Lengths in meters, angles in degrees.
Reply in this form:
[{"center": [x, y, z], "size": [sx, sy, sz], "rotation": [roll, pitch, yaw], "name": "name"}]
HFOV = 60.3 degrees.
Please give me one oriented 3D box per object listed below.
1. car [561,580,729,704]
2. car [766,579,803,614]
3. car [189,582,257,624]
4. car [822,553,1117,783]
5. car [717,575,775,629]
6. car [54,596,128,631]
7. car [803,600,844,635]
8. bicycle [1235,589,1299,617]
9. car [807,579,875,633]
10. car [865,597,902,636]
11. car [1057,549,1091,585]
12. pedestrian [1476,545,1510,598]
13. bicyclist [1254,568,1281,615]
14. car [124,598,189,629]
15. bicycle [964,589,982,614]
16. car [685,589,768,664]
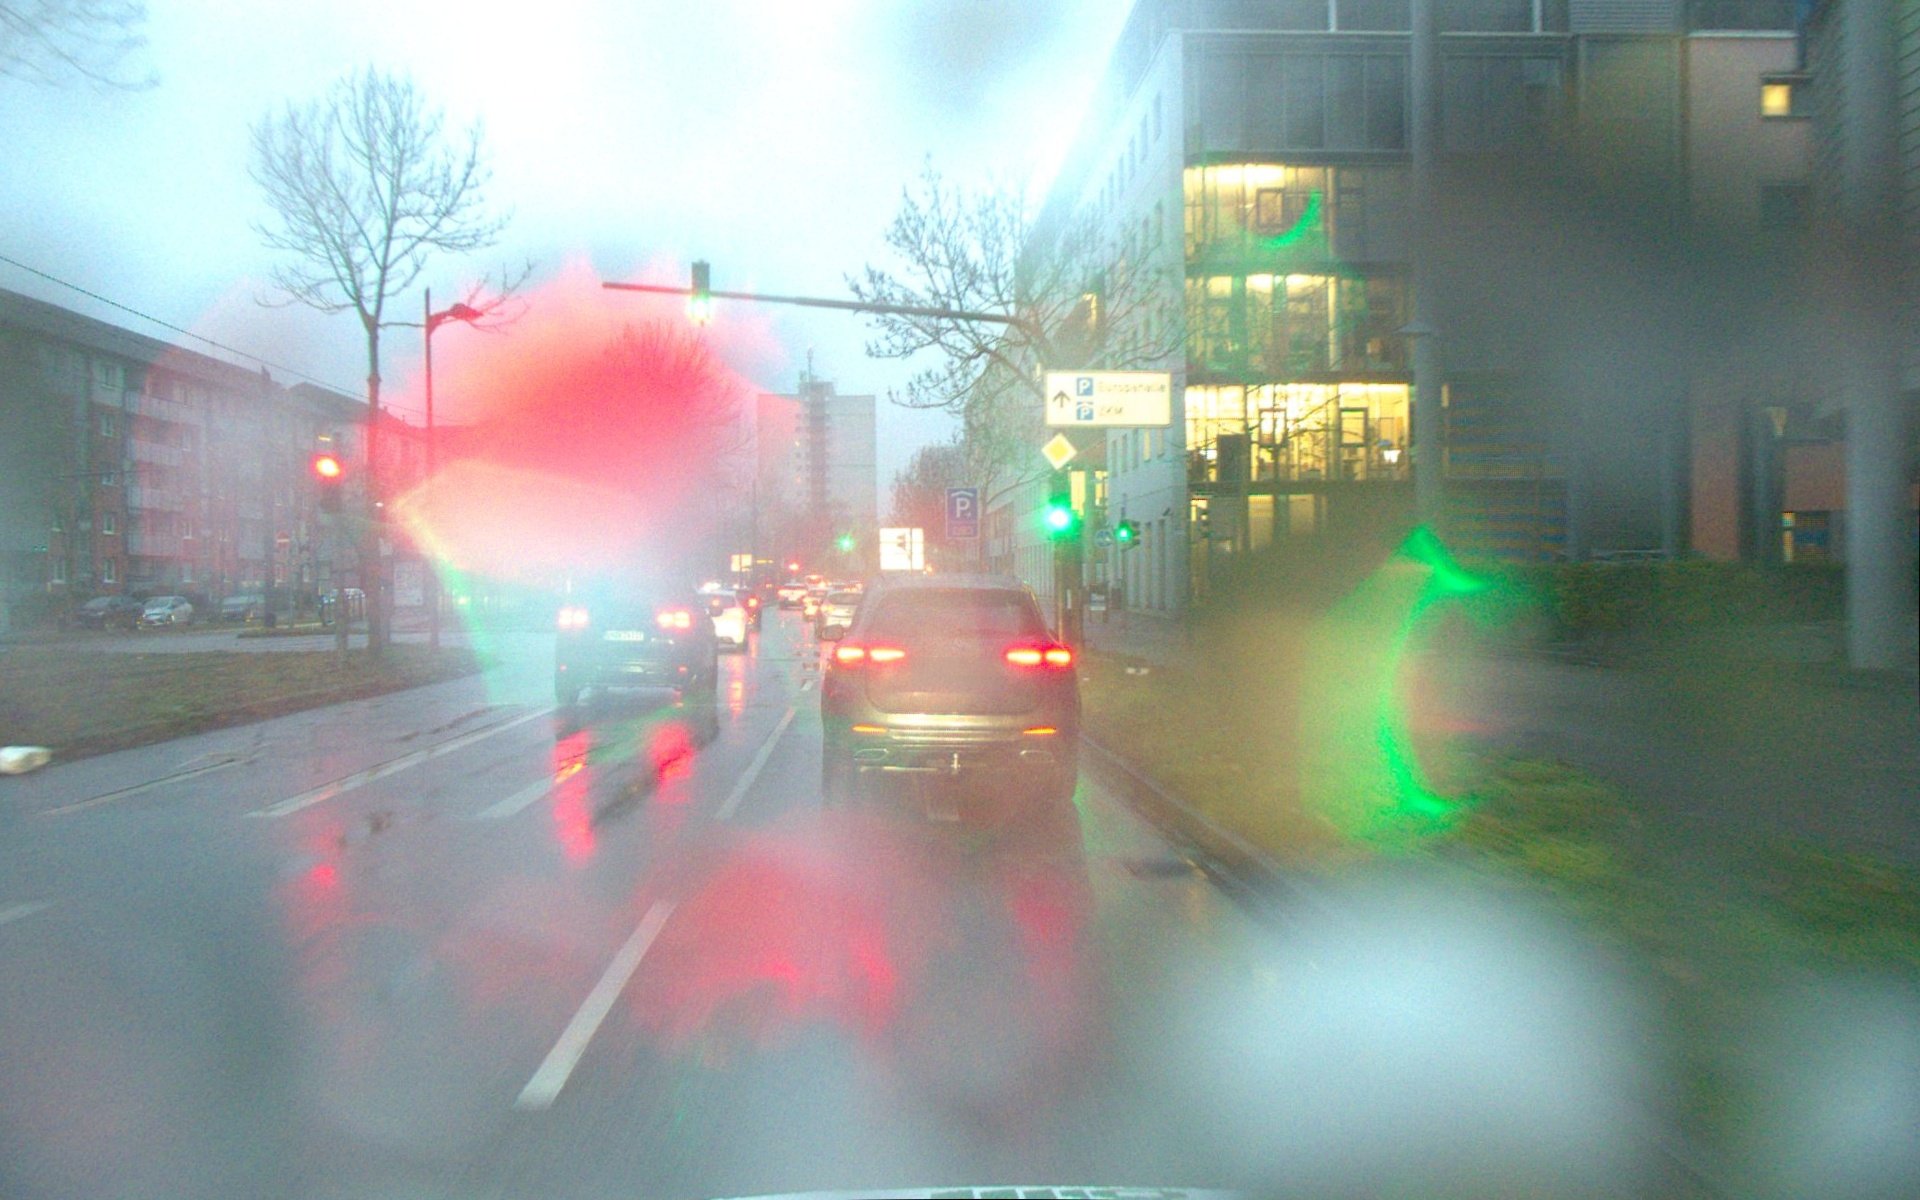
[{"center": [-4.118, 0.491, 22.210], "size": [1.782, 1.476, 3.996], "rotation": [1, 0, -5], "name": "car"}, {"center": [-10.848, -0.232, 102.541], "size": [1.953, 2.049, 3.999], "rotation": [1, 0, -2], "name": "car"}, {"center": [-37.014, 0.127, 83.157], "size": [1.955, 2.049, 3.994], "rotation": [1, 0, -7], "name": "car"}, {"center": [-0.036, 0.453, 12.978], "size": [1.954, 1.509, 3.697], "rotation": [1, 0, -3], "name": "car"}, {"center": [-7.479, 0.075, 58.104], "size": [1.629, 1.790, 3.566], "rotation": [1, 0, -2], "name": "car"}, {"center": [-35.588, 0.539, 67.805], "size": [1.416, 1.309, 3.383], "rotation": [1, 0, -4], "name": "car"}, {"center": [-6.078, 0.754, 73.815], "size": [1.527, 1.485, 3.112], "rotation": [1, 0, 0], "name": "car"}, {"center": [8.898, 0.097, 47.942], "size": [1.696, 0.758, 0.650], "rotation": [2, 0, 31], "name": "bicycle"}, {"center": [-3.656, 0.163, 51.445], "size": [1.829, 1.570, 3.610], "rotation": [1, 0, 0], "name": "car"}, {"center": [-3.578, 0.734, 77.874], "size": [1.542, 1.735, 3.702], "rotation": [1, 0, 0], "name": "car"}, {"center": [5.904, -1.720, 85.991], "size": [1.593, 1.790, 3.422], "rotation": [1, 0, 2], "name": "car"}, {"center": [17.176, -0.907, 53.308], "size": [0.791, 1.683, 0.726], "rotation": [1, 0, -1], "name": "pedestrian"}, {"center": [8.914, -0.249, 47.966], "size": [0.610, 1.353, 0.564], "rotation": [1, 0, 30], "name": "bicyclist"}, {"center": [-35.966, 0.584, 74.102], "size": [1.416, 1.309, 3.383], "rotation": [1, 0, -4], "name": "car"}, {"center": [0.521, 0.060, 66.532], "size": [0.534, 0.982, 1.344], "rotation": [1, 0, -6], "name": "bicycle"}, {"center": [-5.576, 0.599, 39.806], "size": [1.656, 1.664, 3.471], "rotation": [1, 0, -3], "name": "car"}]
